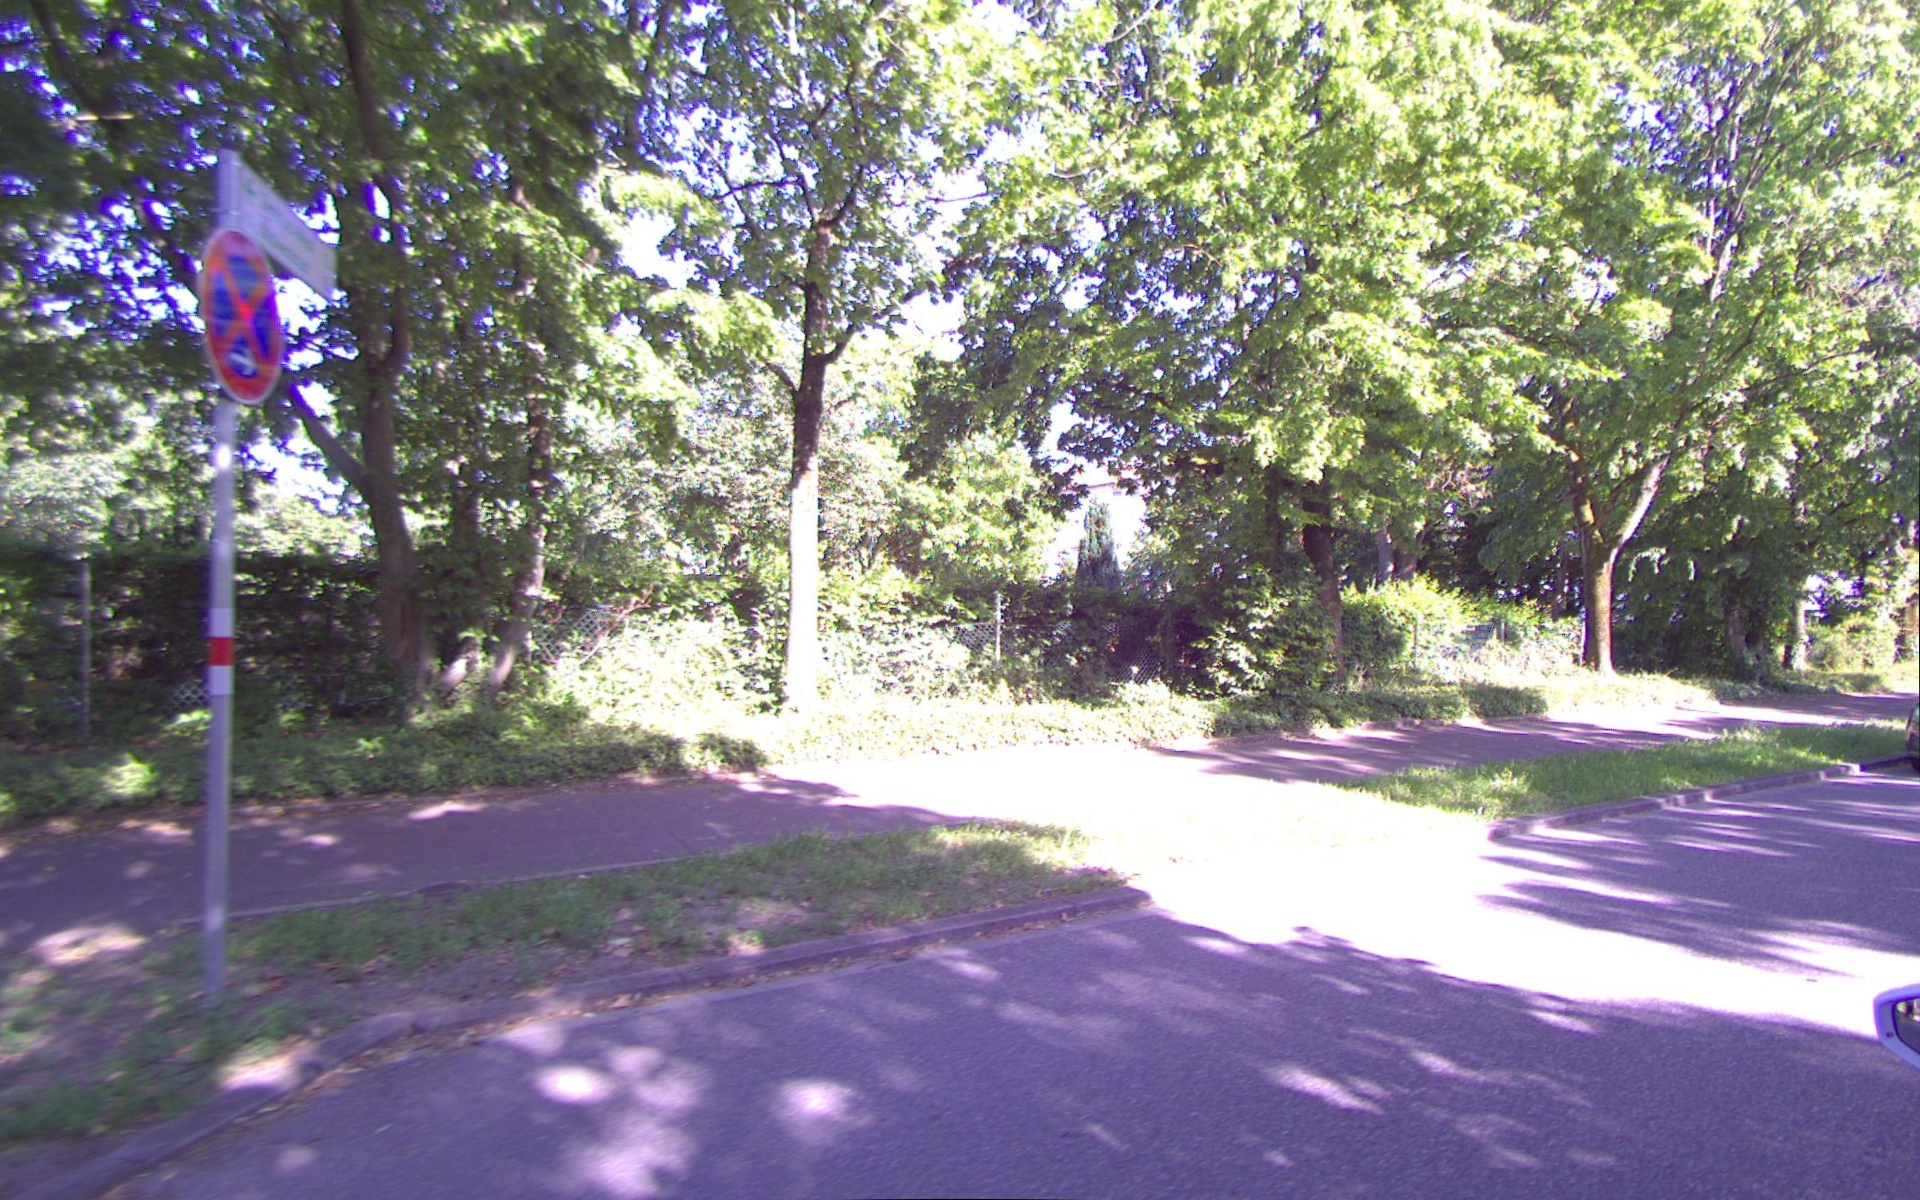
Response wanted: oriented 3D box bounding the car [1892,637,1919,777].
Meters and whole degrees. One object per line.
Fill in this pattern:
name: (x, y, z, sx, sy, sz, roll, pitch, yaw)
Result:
car: (11.769, 1.125, 10.897, 3.612, 1.445, 1.592, 1, -2, -33)
